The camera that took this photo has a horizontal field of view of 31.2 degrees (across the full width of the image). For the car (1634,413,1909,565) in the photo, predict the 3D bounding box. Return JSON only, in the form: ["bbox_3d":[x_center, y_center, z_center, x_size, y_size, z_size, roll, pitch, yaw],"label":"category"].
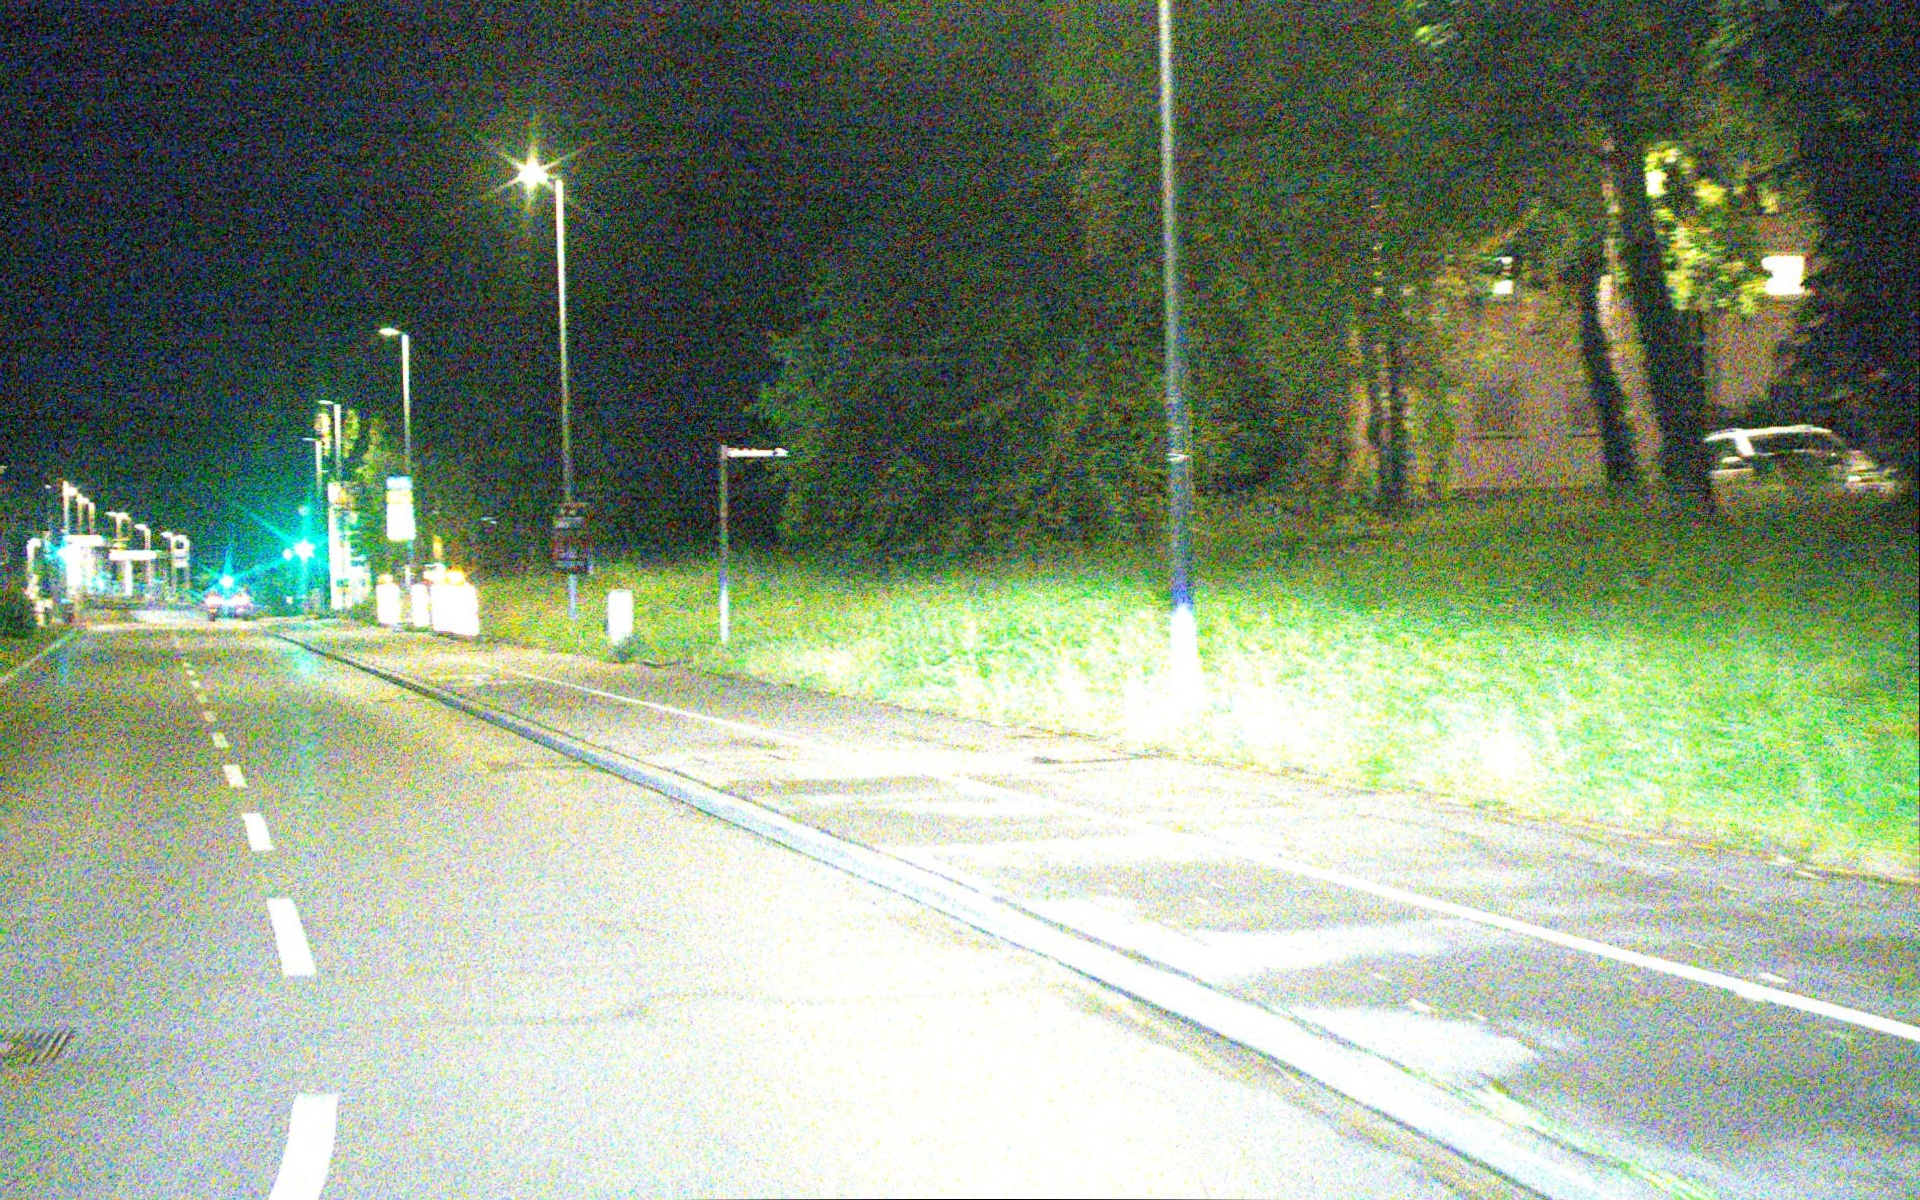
[{"bbox_3d":[10.775,-1.439,45.953,1.951,1.831,4.115,-4,1,-11],"label":"car"}]

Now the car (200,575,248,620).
[{"bbox_3d":[-34.092,-0.138,159.345,2.087,2.007,4.001,-2,1,-12],"label":"car"}]
